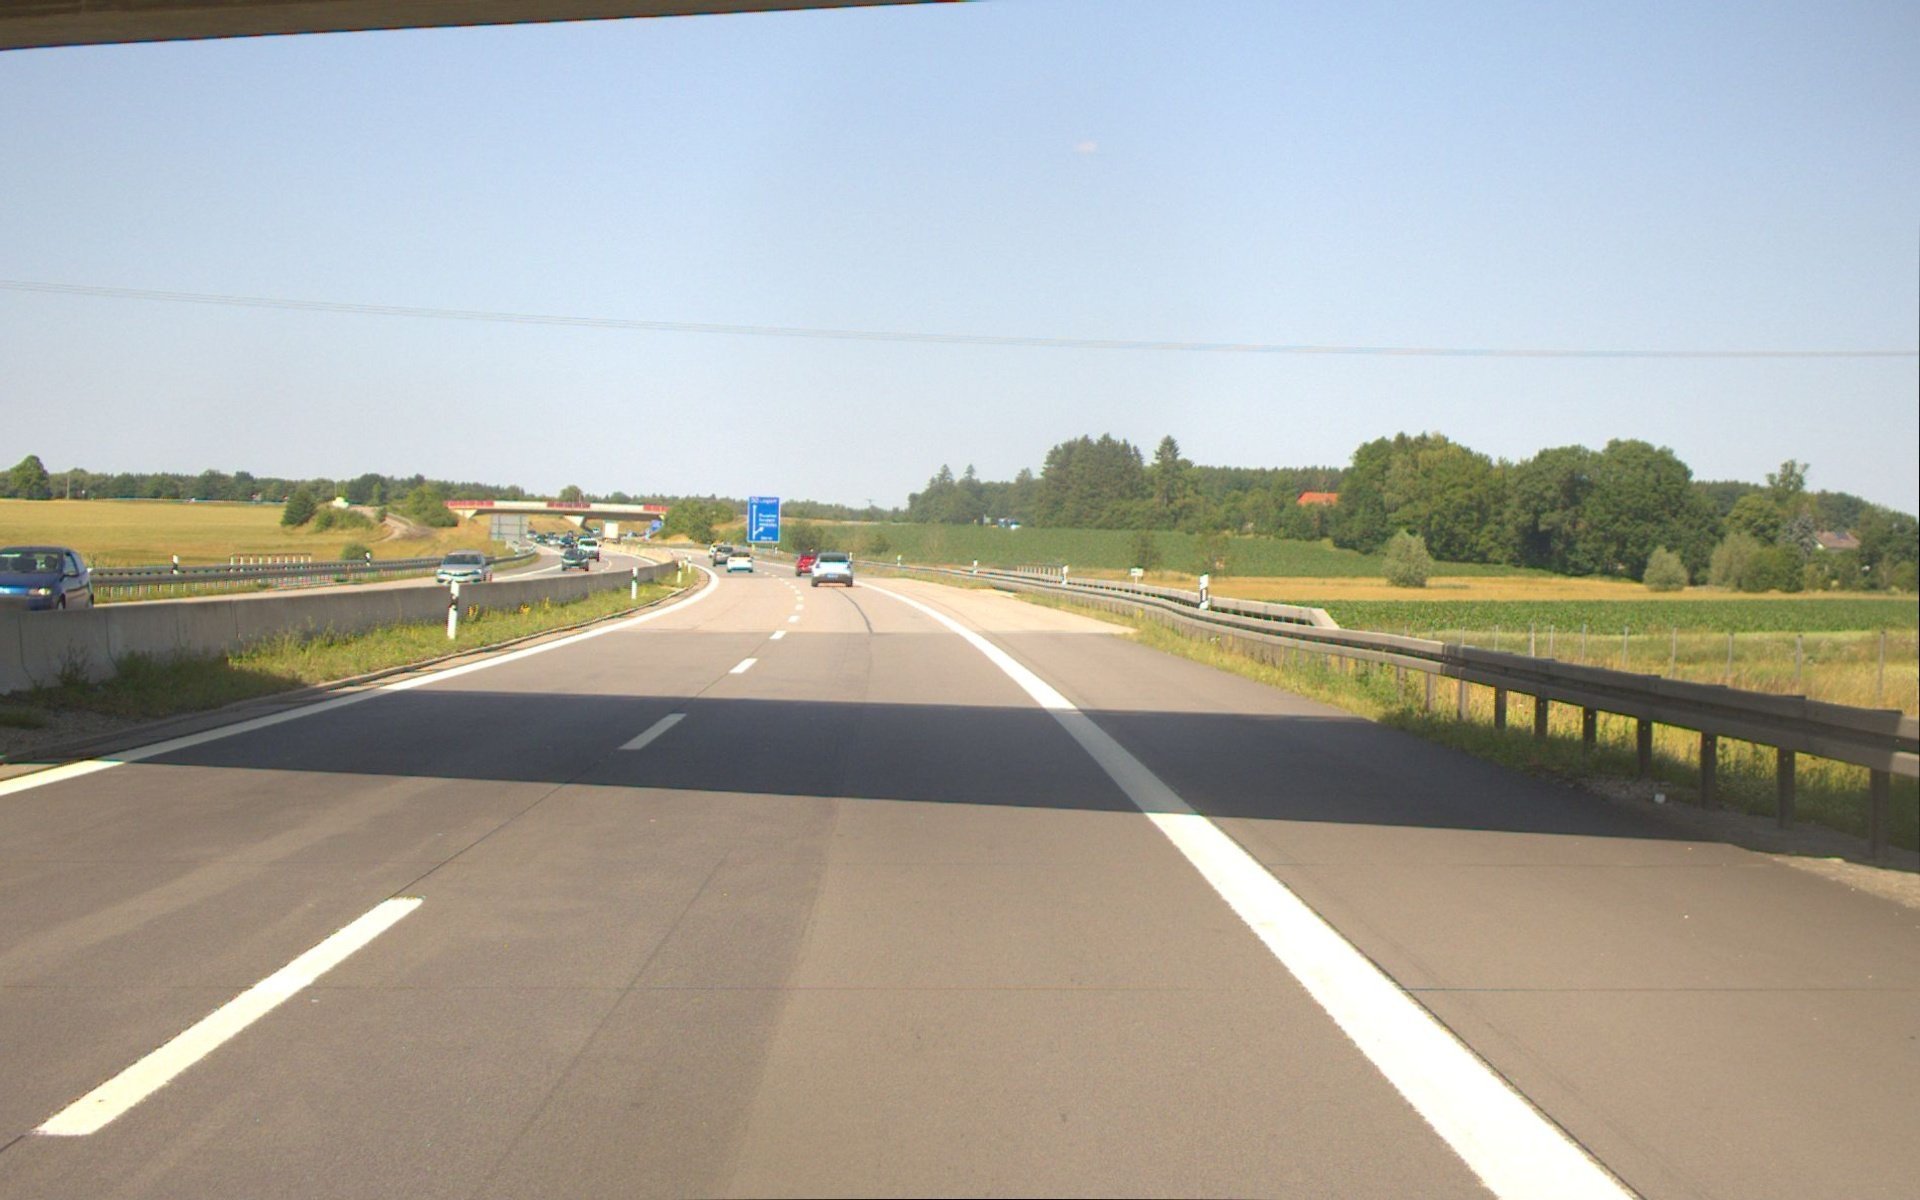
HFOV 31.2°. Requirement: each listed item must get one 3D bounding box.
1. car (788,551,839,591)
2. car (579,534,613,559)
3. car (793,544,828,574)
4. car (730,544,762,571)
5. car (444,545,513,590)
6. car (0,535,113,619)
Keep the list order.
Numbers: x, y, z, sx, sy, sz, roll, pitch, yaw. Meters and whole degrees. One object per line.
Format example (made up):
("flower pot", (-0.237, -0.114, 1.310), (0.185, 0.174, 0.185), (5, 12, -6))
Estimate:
("car", (-6.741, -1.329, 157.858), (1.993, 1.725, 4.870), (1, 1, -6))
("car", (-23.216, -3.398, 219.500), (1.859, 1.509, 4.586), (2, 1, -3))
("car", (-9.101, -2.524, 209.231), (1.993, 1.725, 4.870), (1, 1, -4))
("car", (-14.524, -2.910, 233.124), (1.993, 1.725, 4.870), (1, 1, -2))
("car", (-17.910, -1.198, 128.025), (1.993, 1.573, 4.897), (2, 0, -2))
("car", (-16.696, -0.433, 62.106), (1.854, 1.455, 4.196), (1, 1, -2))
